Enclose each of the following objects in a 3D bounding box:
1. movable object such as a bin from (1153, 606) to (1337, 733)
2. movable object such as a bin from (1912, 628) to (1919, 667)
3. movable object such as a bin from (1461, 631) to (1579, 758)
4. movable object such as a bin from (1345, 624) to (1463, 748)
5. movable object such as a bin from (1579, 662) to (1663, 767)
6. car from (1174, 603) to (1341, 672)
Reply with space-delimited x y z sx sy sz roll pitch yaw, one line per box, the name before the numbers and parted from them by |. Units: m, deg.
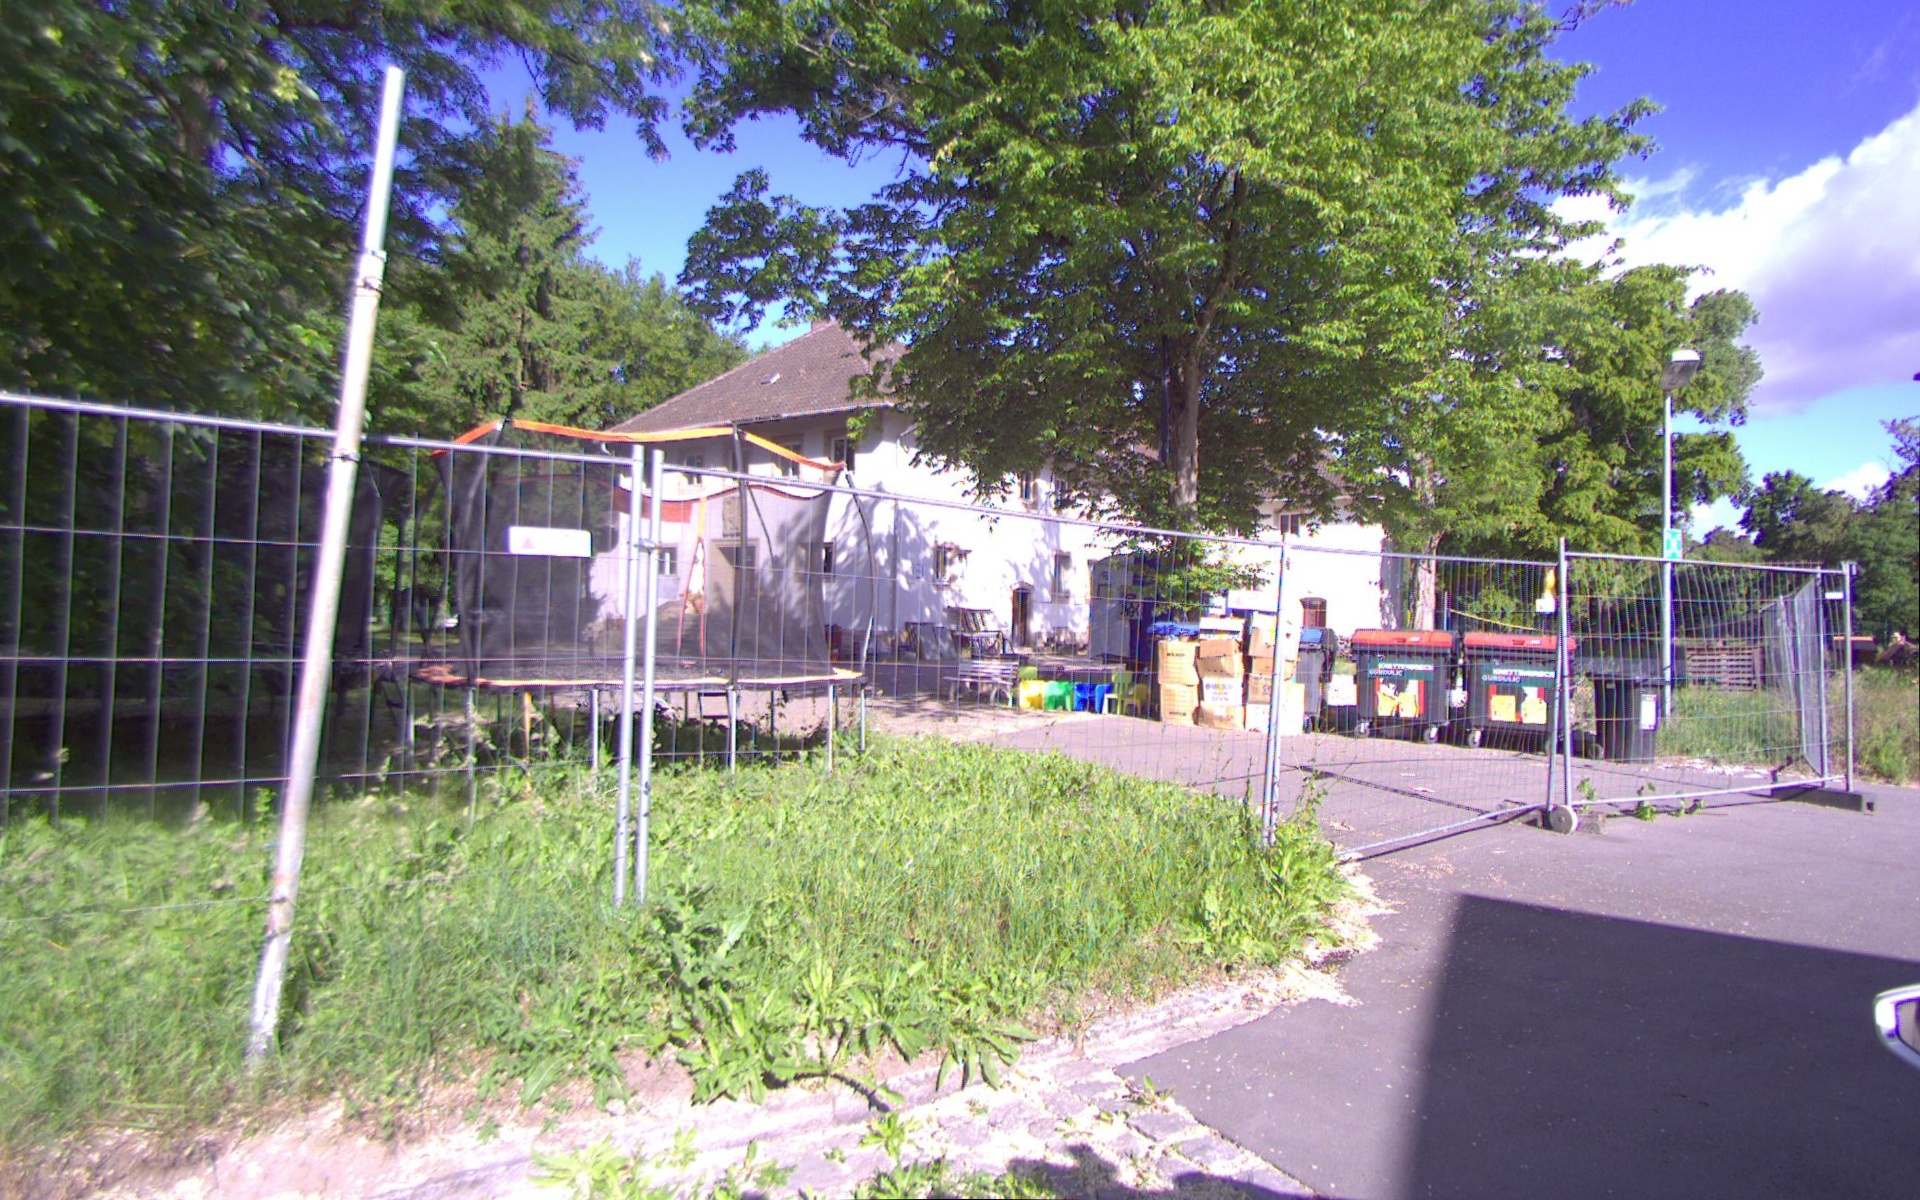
movable object such as a bin | 4.016 0.925 14.155 2.254 1.612 1.172 1 -1 30
movable object such as a bin | 51.578 2.556 53.344 1.401 2.040 1.120 1 -1 40
movable object such as a bin | 6.932 1.134 12.464 1.226 1.463 0.701 1 -1 30
movable object such as a bin | 5.839 1.086 13.204 1.317 1.504 0.805 1 -1 29
movable object such as a bin | 7.720 1.304 11.725 0.727 1.112 0.816 1 -1 39
car | 9.302 1.130 31.510 4.642 1.927 1.996 1 -1 31
